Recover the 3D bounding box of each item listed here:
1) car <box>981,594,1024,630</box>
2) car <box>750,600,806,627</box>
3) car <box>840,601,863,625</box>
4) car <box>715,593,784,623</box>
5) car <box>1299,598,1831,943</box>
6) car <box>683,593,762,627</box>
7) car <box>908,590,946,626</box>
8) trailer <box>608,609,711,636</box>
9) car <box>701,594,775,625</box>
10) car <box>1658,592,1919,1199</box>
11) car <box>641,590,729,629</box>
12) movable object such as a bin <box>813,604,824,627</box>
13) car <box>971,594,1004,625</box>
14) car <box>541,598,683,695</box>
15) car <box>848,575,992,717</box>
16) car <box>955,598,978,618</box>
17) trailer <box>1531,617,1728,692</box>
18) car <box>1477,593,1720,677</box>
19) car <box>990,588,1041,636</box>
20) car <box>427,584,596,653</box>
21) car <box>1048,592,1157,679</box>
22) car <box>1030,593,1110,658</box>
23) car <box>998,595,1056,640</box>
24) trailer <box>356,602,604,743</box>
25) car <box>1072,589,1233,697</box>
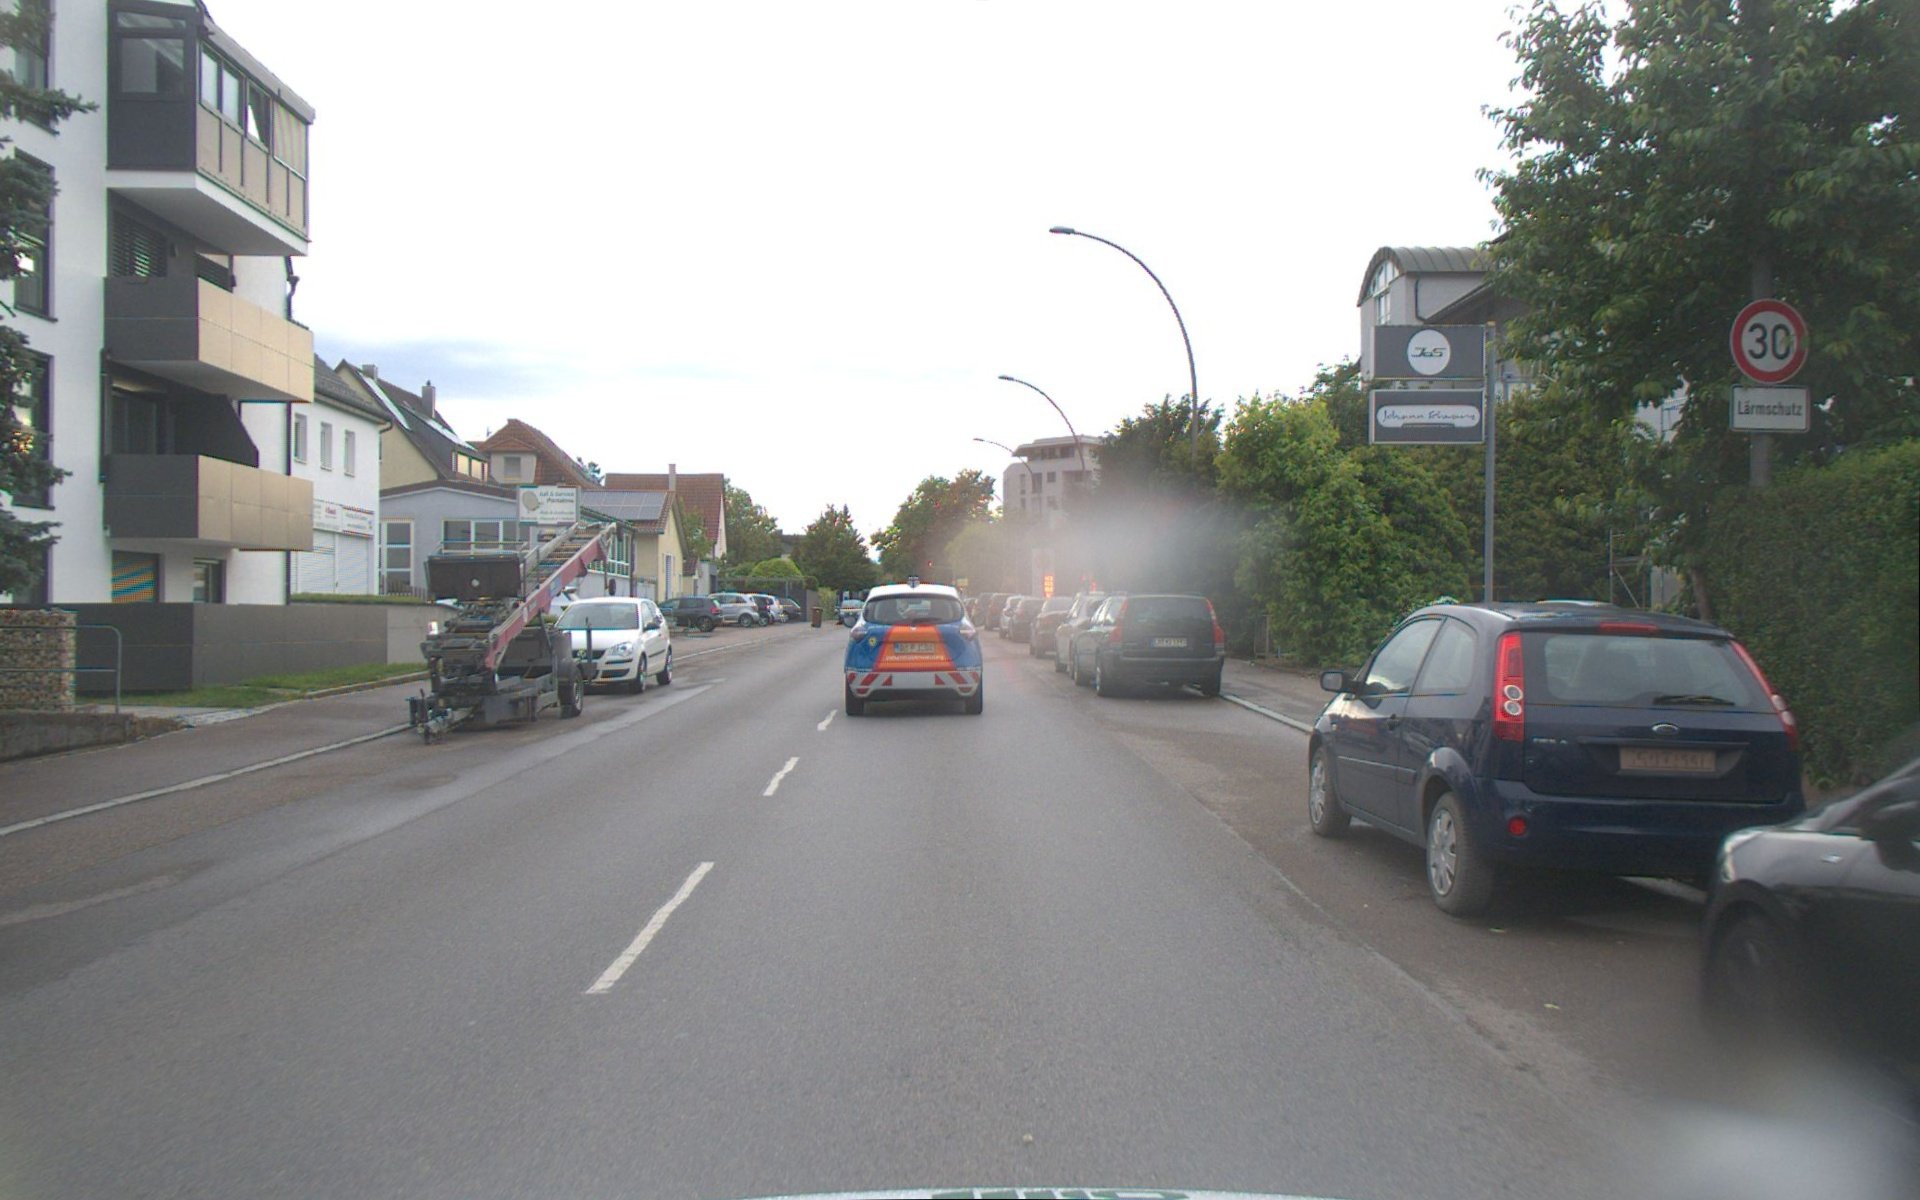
[{"bbox_3d":[1.869,0.536,73.658,1.617,1.548,3.998,1,0,-3],"label":"car"},{"bbox_3d":[-10.663,0.793,96.905,3.217,1.473,1.478,-1,0,-5],"label":"car"},{"bbox_3d":[-6.954,0.833,105.967,1.358,1.509,3.782,0,0,-3],"label":"car"},{"bbox_3d":[-11.269,0.442,88.806,3.582,1.509,1.478,-1,0,-5],"label":"car"},{"bbox_3d":[3.029,0.744,9.107,1.457,1.464,3.806,1,0,-1],"label":"car"},{"bbox_3d":[-11.538,0.485,80.615,3.686,1.604,1.653,1,0,-5],"label":"car"},{"bbox_3d":[-1.503,0.366,74.349,1.617,1.548,3.998,1,0,-3],"label":"car"},{"bbox_3d":[-12.245,0.924,67.546,3.941,1.012,1.654,1,0,-3],"label":"trailer"},{"bbox_3d":[-11.376,0.474,84.981,3.686,1.509,1.653,1,0,-5],"label":"car"},{"bbox_3d":[3.096,0.748,3.373,1.624,1.474,3.828,1,1,-2],"label":"car"},{"bbox_3d":[-11.605,0.411,70.030,3.510,1.553,1.653,1,0,-5],"label":"car"},{"bbox_3d":[-7.800,0.852,90.983,0.568,1.225,0.318,1,0,-1],"label":"movable object such as a bin"},{"bbox_3d":[1.575,0.550,95.425,1.617,1.701,3.998,1,0,-3],"label":"car"},{"bbox_3d":[-5.674,0.723,27.359,1.525,1.458,3.999,1,0,-1],"label":"car"},{"bbox_3d":[-0.520,0.545,21.222,1.696,1.659,3.493,0,0,-2],"label":"car"},{"bbox_3d":[0.493,0.602,127.340,1.617,1.509,3.998,1,0,-3],"label":"car"},{"bbox_3d":[10.597,0.828,26.459,1.507,1.078,3.906,0,0,-1],"label":"trailer"},{"bbox_3d":[11.642,0.600,30.320,1.530,1.423,3.890,-1,0,-45],"label":"car"},{"bbox_3d":[1.897,0.430,57.604,1.451,1.583,3.859,2,-1,-2],"label":"car"},{"bbox_3d":[-10.995,0.442,40.735,3.684,1.595,1.654,1,0,-3],"label":"car"},{"bbox_3d":[2.564,0.609,30.441,1.509,1.454,3.749,1,0,-3],"label":"car"},{"bbox_3d":[2.534,0.579,38.846,1.572,1.398,4.086,1,0,0],"label":"car"},{"bbox_3d":[2.094,0.533,52.489,1.616,1.358,3.999,0,0,-1],"label":"car"},{"bbox_3d":[-5.604,0.770,19.993,1.683,1.282,5.242,1,2,-3],"label":"trailer"},{"bbox_3d":[2.820,0.605,25.172,1.677,1.464,4.523,1,0,-3],"label":"car"}]
